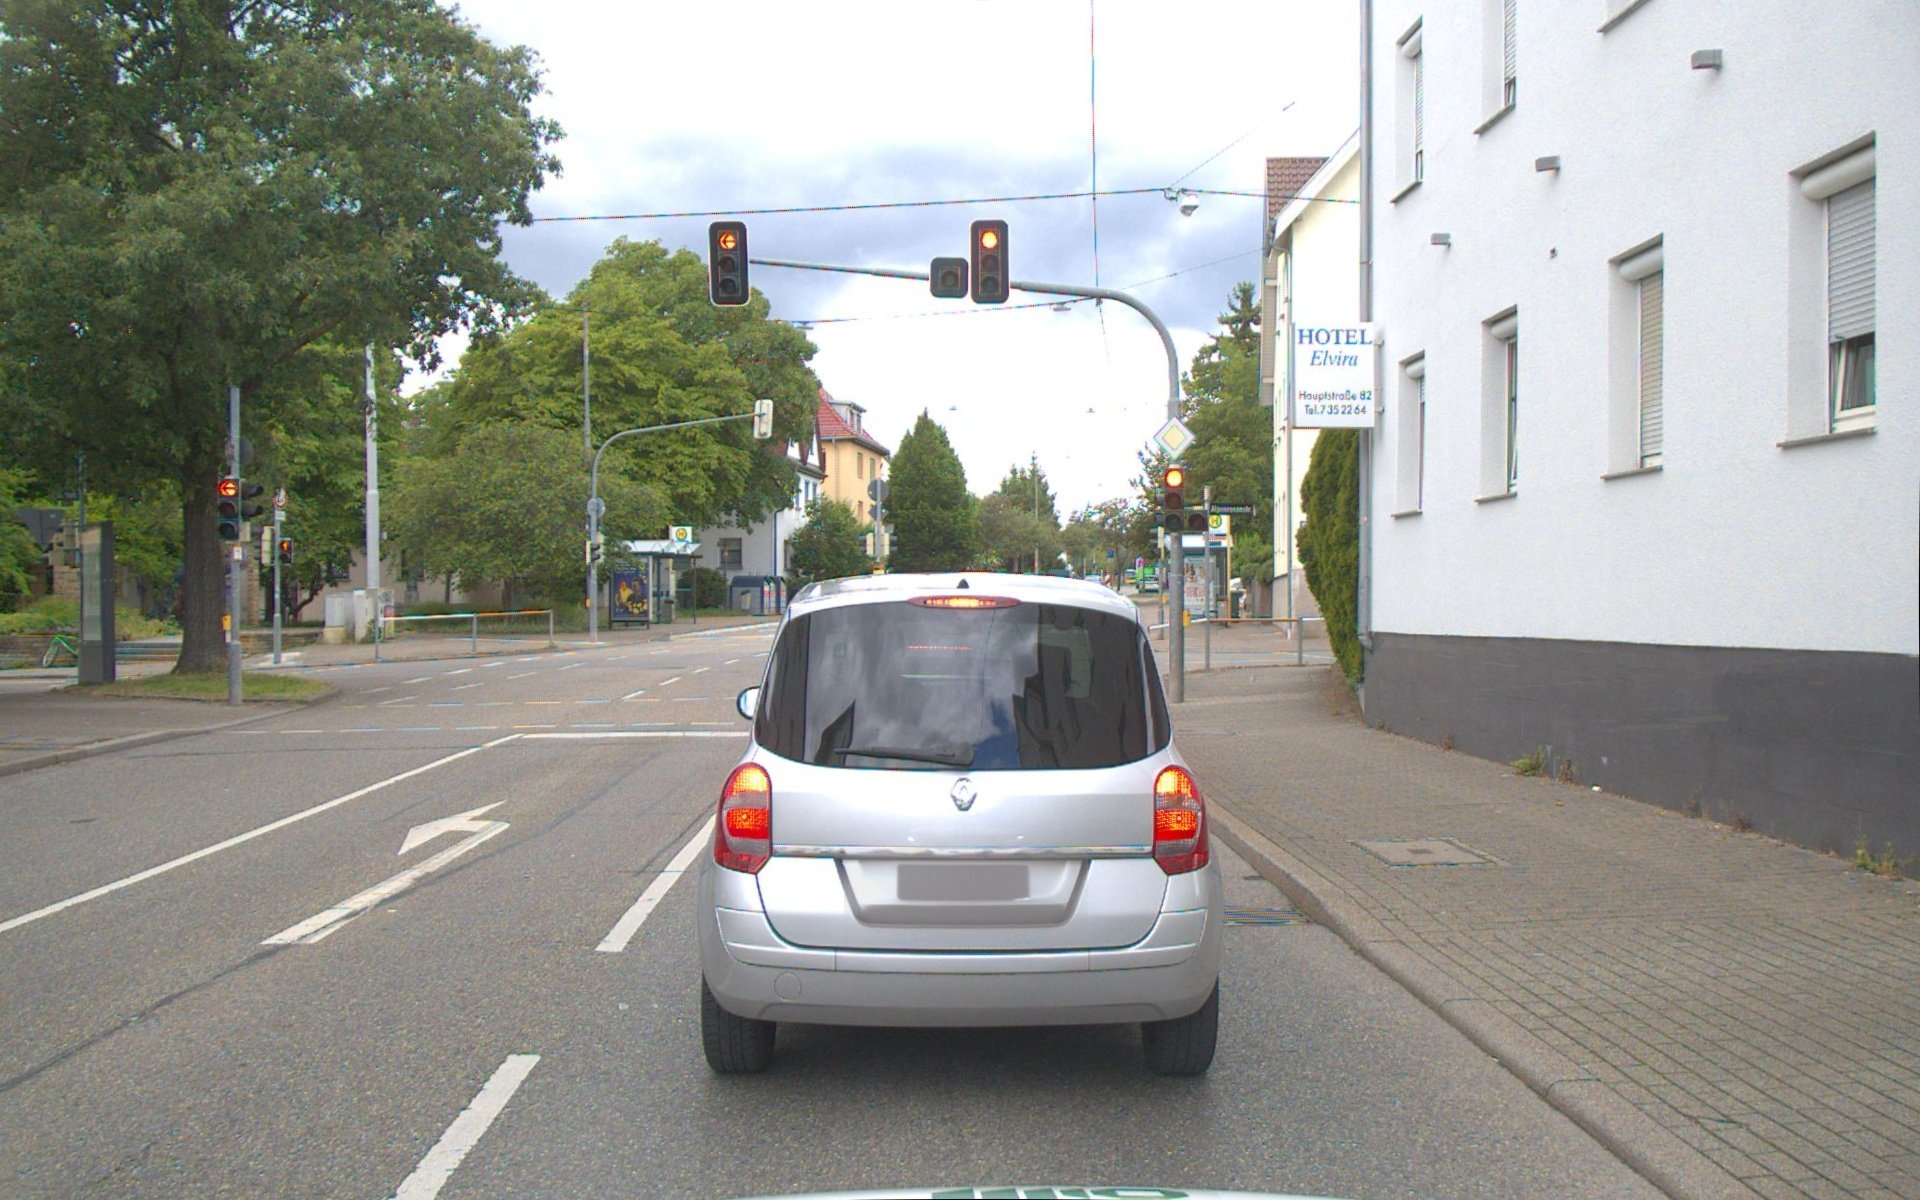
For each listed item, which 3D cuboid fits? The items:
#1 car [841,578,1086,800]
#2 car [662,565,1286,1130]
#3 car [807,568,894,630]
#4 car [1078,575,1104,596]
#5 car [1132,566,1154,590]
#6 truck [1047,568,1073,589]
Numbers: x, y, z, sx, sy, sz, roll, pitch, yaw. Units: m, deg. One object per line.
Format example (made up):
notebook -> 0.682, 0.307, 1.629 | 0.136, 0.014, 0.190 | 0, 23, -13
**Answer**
car -> -0.013, 0.627, 13.619 | 1.719, 1.557, 3.796 | 1, 0, -1
car -> 0.003, 0.688, 6.590 | 1.719, 1.557, 3.999 | 1, 0, -1
car -> -3.540, -0.050, 54.133 | 1.885, 1.804, 4.004 | -4, 0, 9
car -> 11.675, -1.274, 147.267 | 1.818, 1.778, 4.003 | 1, 0, 11
car -> 20.677, -2.463, 186.405 | 2.015, 2.556, 5.600 | 1, 0, 11
truck -> 10.077, -2.157, 166.689 | 2.056, 2.049, 5.752 | 1, 0, 9
